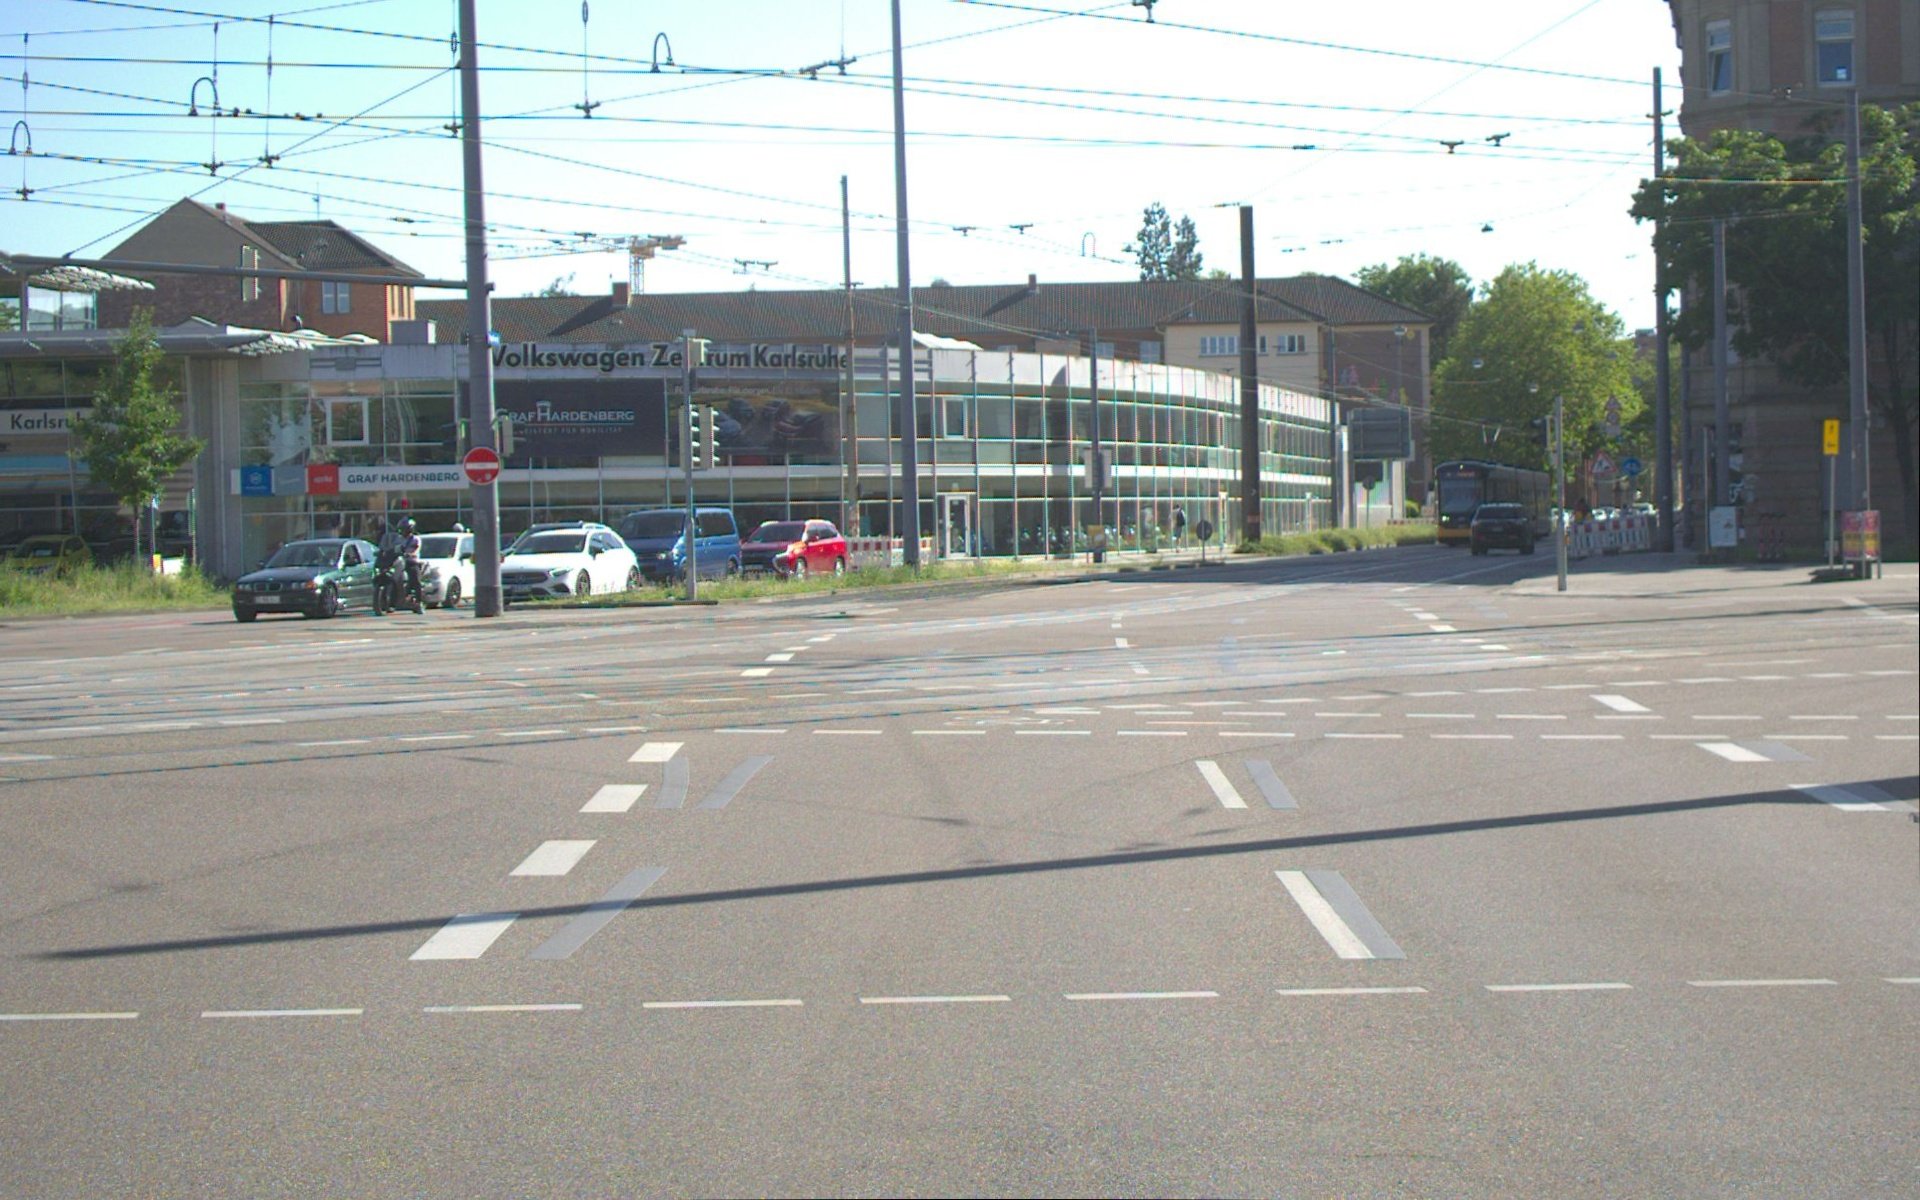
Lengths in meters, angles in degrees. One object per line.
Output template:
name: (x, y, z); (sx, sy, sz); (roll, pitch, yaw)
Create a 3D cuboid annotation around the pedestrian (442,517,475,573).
pedestrian: (-10.954, -1.207, 75.121); (0.423, 1.200, 0.680); (-1, 1, 18)

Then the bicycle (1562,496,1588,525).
bicycle: (18.948, -2.767, 105.956); (0.743, 0.867, 1.930); (-1, 1, 10)

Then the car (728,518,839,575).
car: (-4.400, -1.345, 86.087); (1.627, 1.359, 3.683); (-1, 1, 16)

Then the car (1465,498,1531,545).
car: (17.641, -2.588, 112.651); (1.700, 1.497, 4.262); (-1, 1, 14)

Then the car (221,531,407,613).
car: (-11.391, -0.516, 60.878); (1.705, 1.349, 3.698); (-1, 1, 17)

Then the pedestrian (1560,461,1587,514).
pedestrian: (18.979, -3.479, 106.425); (0.803, 1.626, 0.718); (-1, 1, 10)

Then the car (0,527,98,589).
car: (-26.536, -1.237, 99.878); (1.966, 1.700, 4.084); (-1, 1, -1)

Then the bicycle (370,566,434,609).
bicycle: (-9.778, -0.223, 60.288); (0.423, 0.715, 1.633); (-1, 1, 17)

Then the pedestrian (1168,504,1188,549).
pedestrian: (8.124, -2.739, 128.202); (0.543, 1.683, 0.629); (-1, 1, 22)

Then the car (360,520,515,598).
car: (-10.123, -0.817, 66.830); (1.627, 1.419, 3.683); (-1, 1, 14)

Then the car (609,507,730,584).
car: (-6.648, -1.274, 78.960); (1.627, 1.686, 3.683); (-1, 1, 14)

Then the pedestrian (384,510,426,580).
pedestrian: (-9.747, -0.969, 60.426); (0.423, 1.200, 0.749); (-1, 1, 17)

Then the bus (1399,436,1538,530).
bus: (22.570, -4.973, 150.912); (3.839, 3.595, 24.851); (1, 1, 13)

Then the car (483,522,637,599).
car: (-7.524, -0.768, 64.948); (1.627, 1.377, 3.735); (-1, 1, 14)
